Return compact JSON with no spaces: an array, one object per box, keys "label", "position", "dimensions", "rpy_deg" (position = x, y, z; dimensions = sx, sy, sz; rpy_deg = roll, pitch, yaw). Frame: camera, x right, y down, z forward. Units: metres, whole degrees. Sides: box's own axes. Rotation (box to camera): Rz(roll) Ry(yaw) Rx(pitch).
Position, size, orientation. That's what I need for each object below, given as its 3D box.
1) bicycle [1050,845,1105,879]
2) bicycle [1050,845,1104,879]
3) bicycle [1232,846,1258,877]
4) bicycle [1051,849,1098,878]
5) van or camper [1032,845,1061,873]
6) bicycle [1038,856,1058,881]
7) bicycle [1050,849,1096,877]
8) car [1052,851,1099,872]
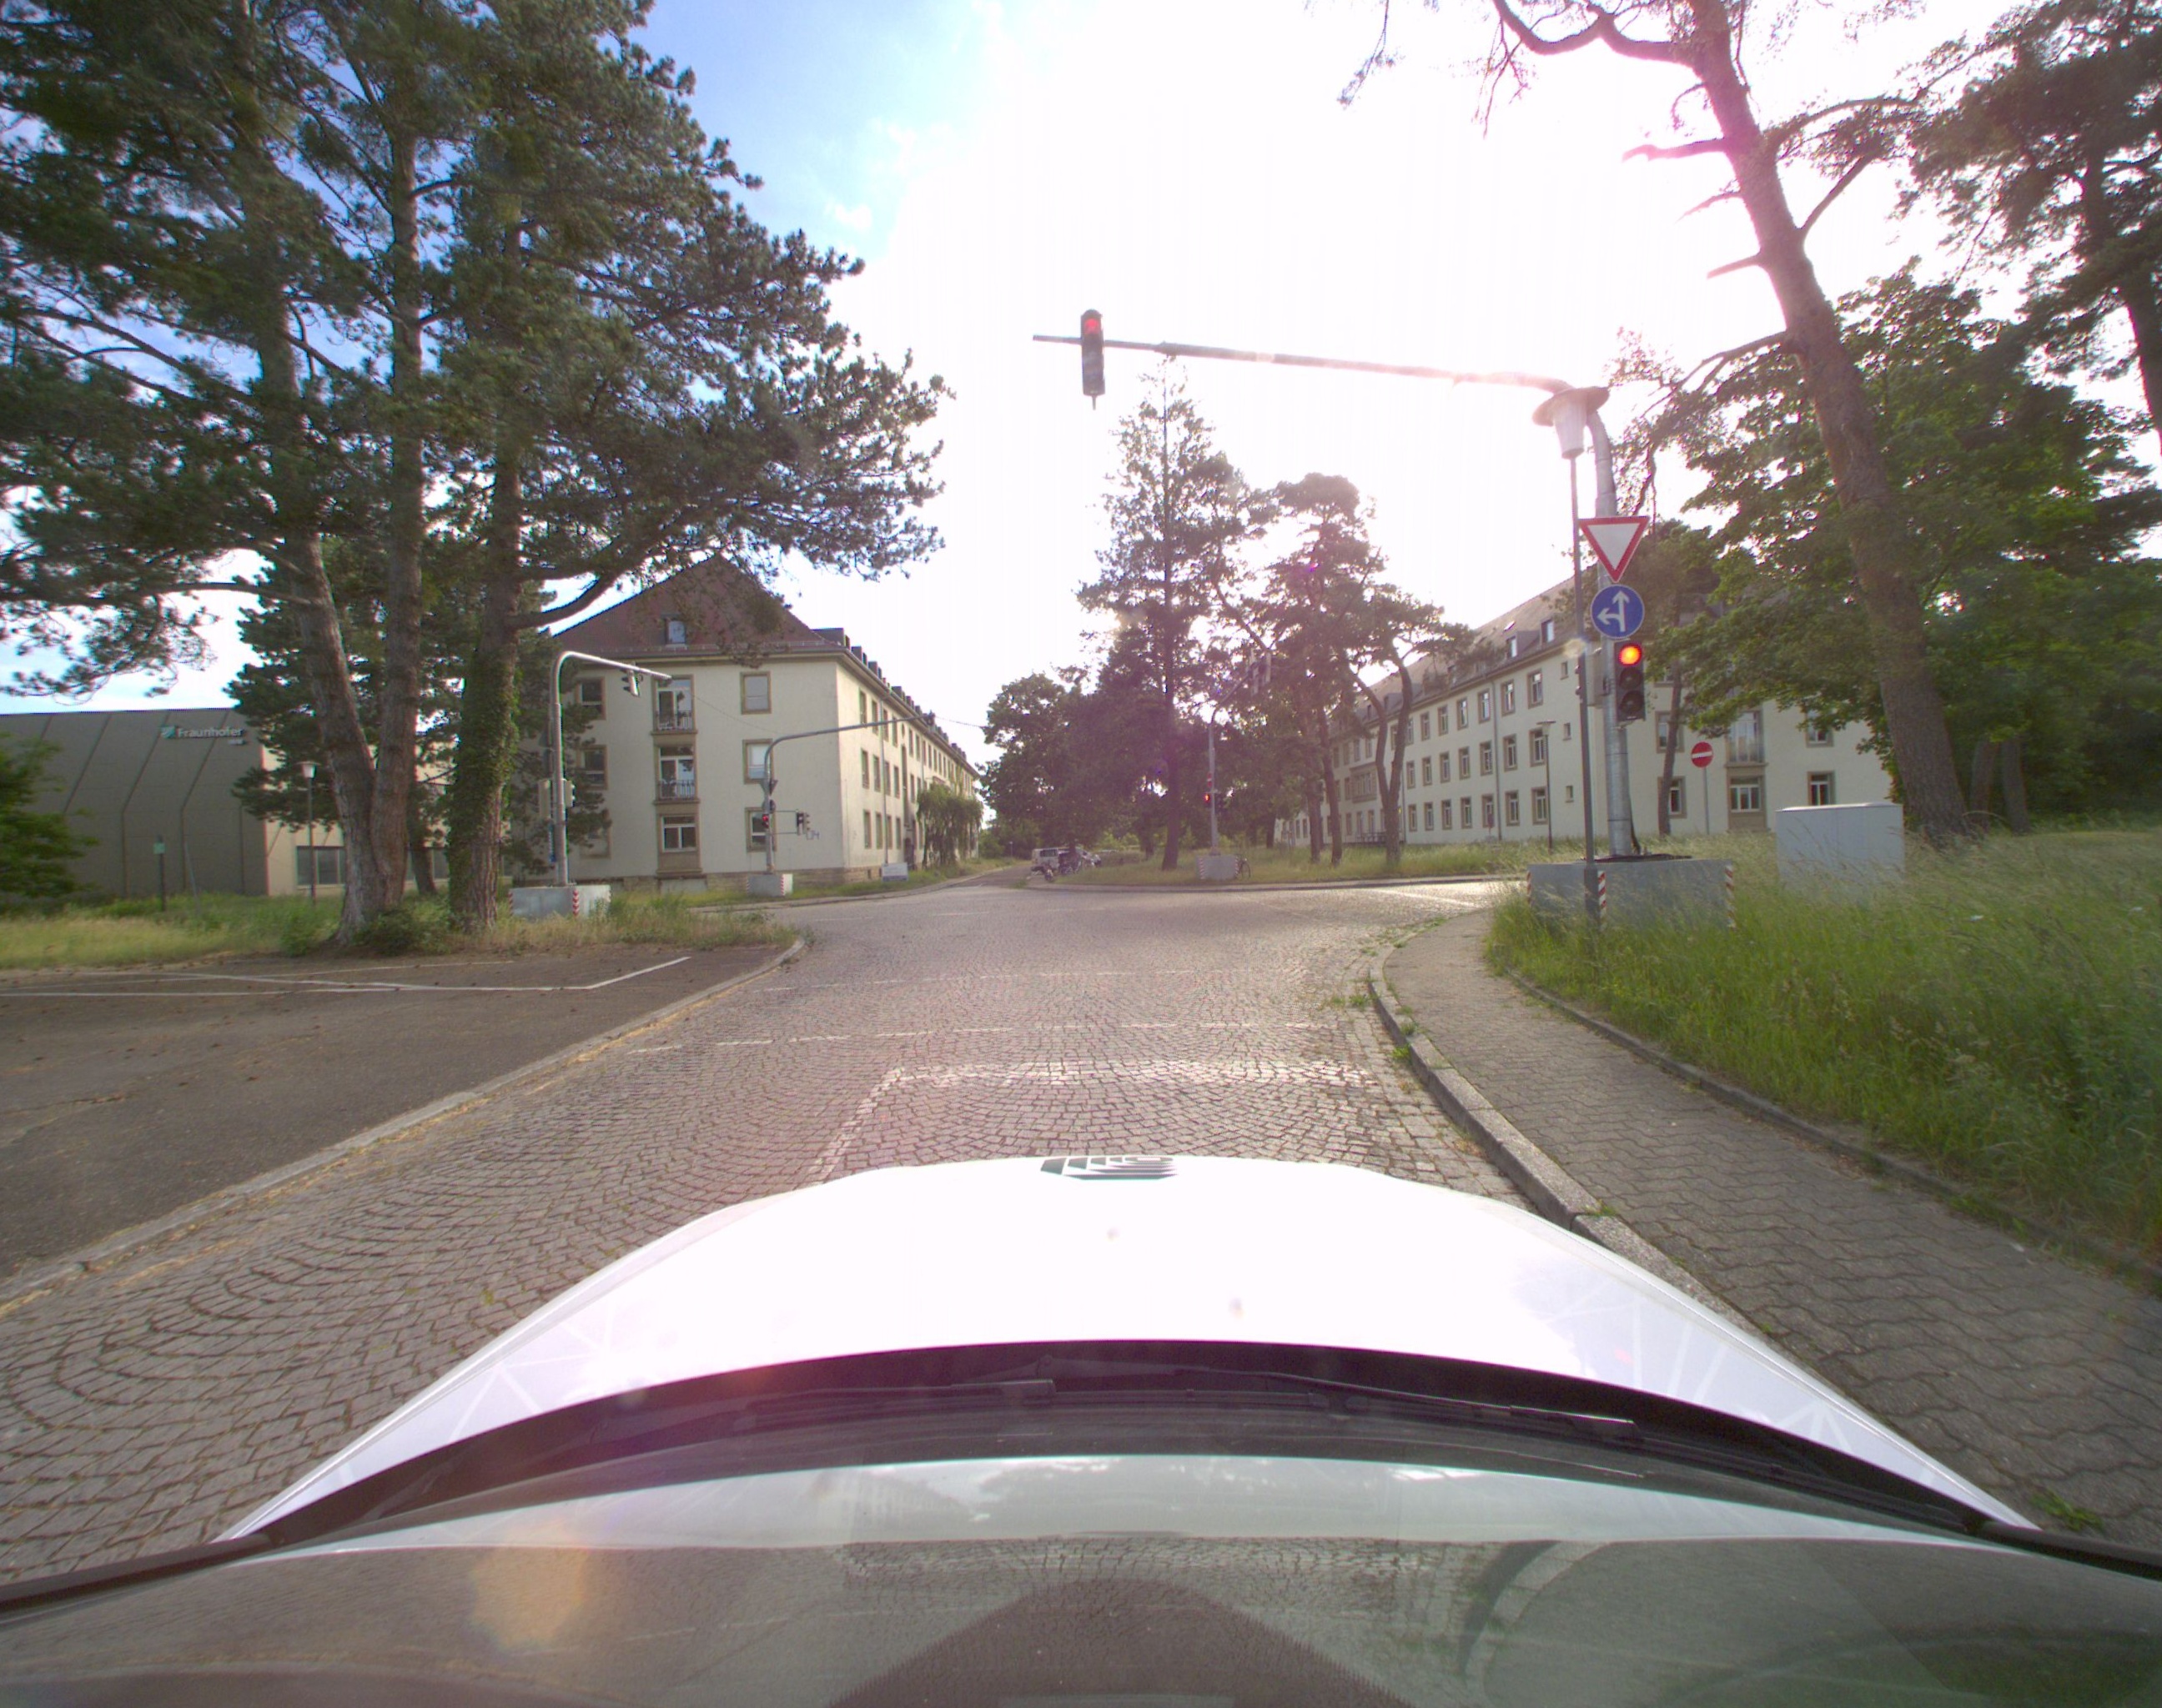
[{"label":"bicycle","position":[-0.179,0.413,43.570],"dimensions":[2.773,1.694,1.117],"rpy_deg":[-2,0,-7]},{"label":"bicycle","position":[-0.230,0.439,44.763],"dimensions":[2.775,1.694,1.117],"rpy_deg":[-2,0,-9]},{"label":"bicycle","position":[6.420,0.290,32.001],"dimensions":[0.720,1.169,2.741],"rpy_deg":[-1,0,5]},{"label":"bicycle","position":[-0.363,0.532,48.323],"dimensions":[2.764,1.694,1.121],"rpy_deg":[0,0,2]},{"label":"van or camper","position":[-2.637,0.354,62.018],"dimensions":[1.989,1.948,6.046],"rpy_deg":[-2,0,-3]},{"label":"bicycle","position":[-1.570,0.674,39.242],"dimensions":[0.723,1.107,2.461],"rpy_deg":[-7,0,0]},{"label":"bicycle","position":[-0.478,0.519,49.657],"dimensions":[2.767,1.694,1.120],"rpy_deg":[0,0,-1]},{"label":"car","position":[-0.412,0.521,57.955],"dimensions":[3.135,1.354,1.616],"rpy_deg":[-2,0,-8]}]
